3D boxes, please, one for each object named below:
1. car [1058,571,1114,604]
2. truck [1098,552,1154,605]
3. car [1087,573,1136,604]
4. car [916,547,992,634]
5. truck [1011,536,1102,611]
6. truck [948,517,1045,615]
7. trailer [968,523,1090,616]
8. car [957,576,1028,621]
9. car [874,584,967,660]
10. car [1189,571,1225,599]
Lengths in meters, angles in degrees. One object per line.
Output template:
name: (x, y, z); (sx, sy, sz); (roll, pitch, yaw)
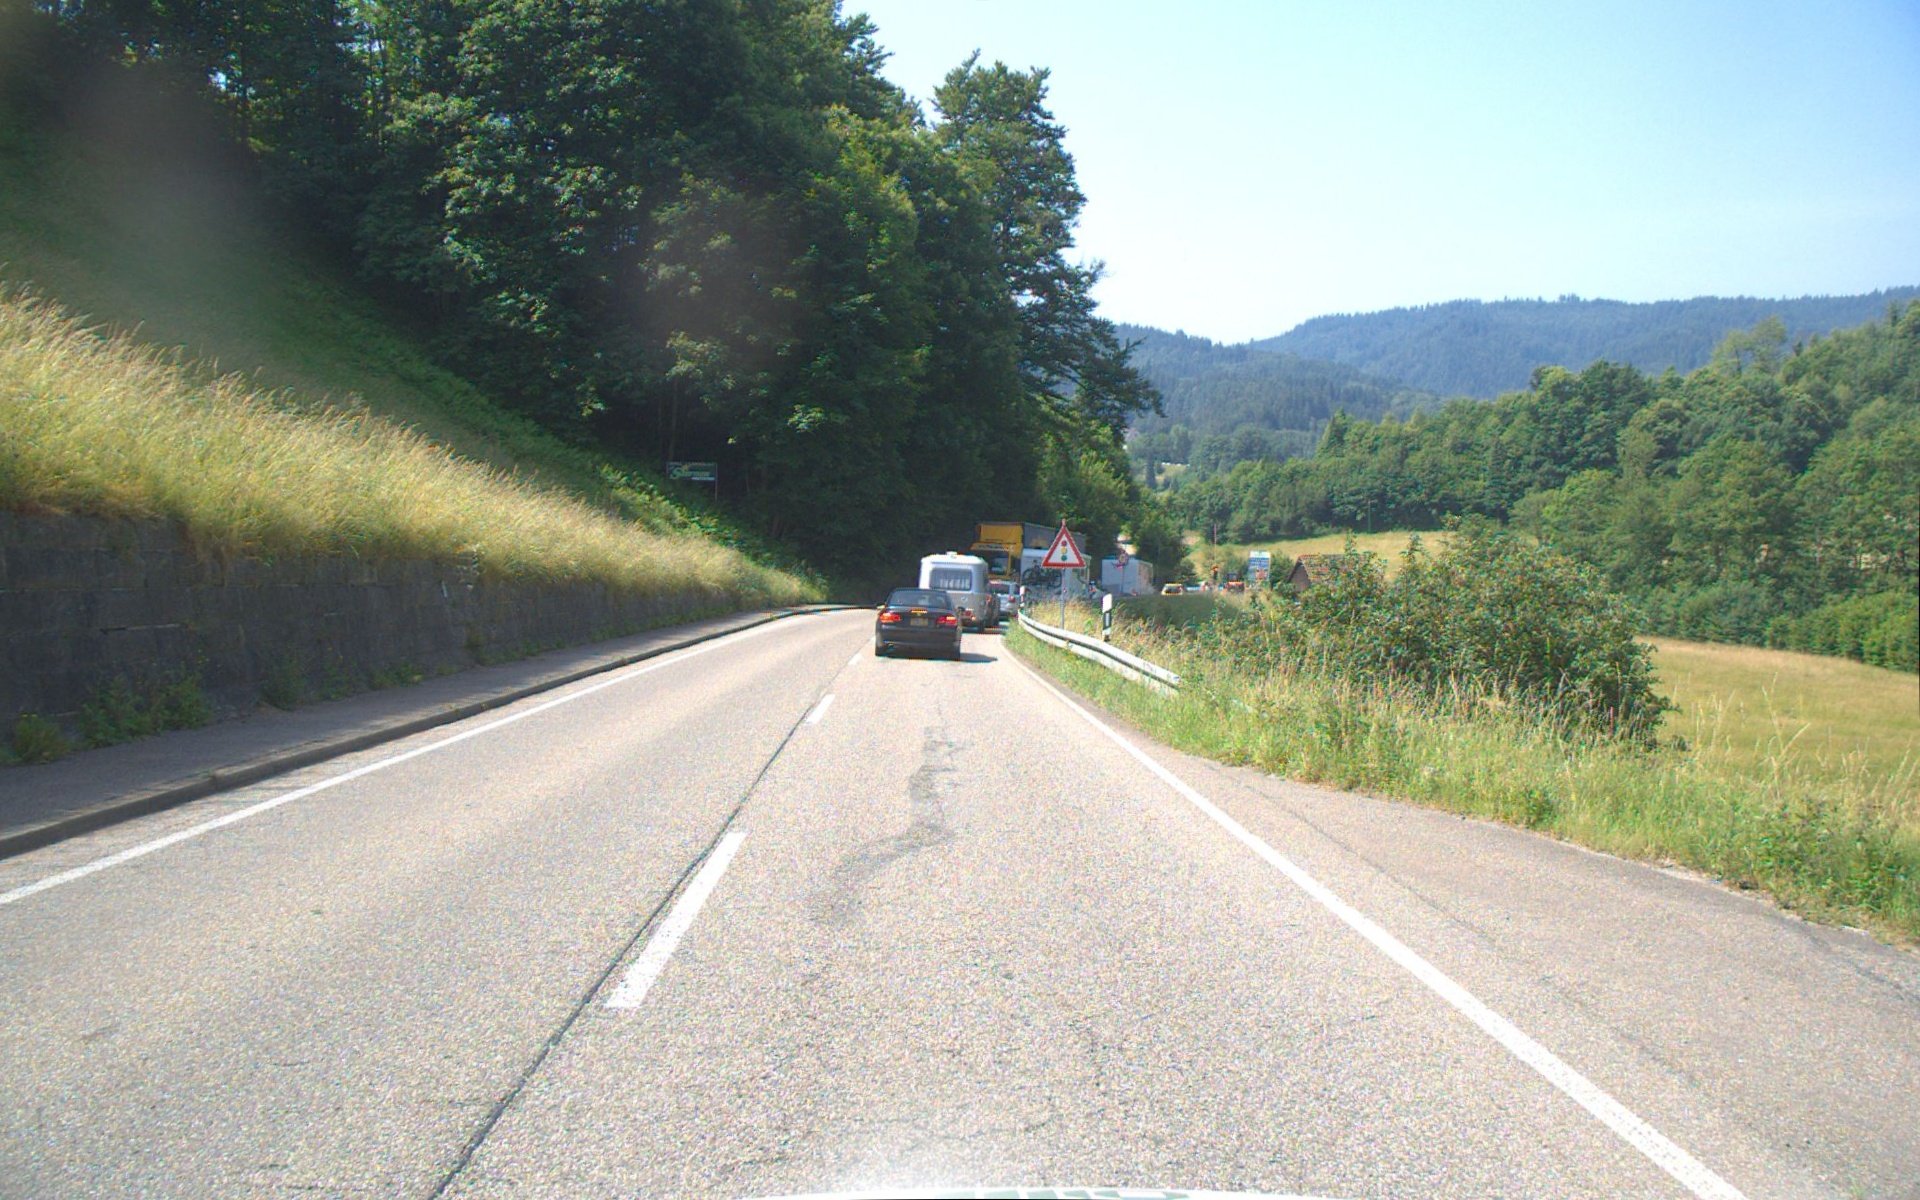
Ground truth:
car: (6.394, -0.646, 83.269); (1.952, 1.489, 4.003); (5, 2, 16)
truck: (9.751, -1.216, 96.863); (2.190, 2.852, 6.236); (3, 0, 15)
car: (8.288, -0.634, 90.144); (1.750, 1.489, 4.002); (5, 2, 17)
car: (-0.134, -0.351, 50.245); (1.952, 2.393, 4.917); (3, 2, 3)
truck: (4.444, -1.181, 75.054); (2.732, 3.049, 6.874); (5, 2, 14)
truck: (1.878, -1.686, 81.543); (3.121, 4.472, 6.577); (4, 2, 14)
trailer: (4.009, -1.613, 89.538); (3.191, 4.493, 15.328); (3, 1, 15)
car: (1.255, -0.072, 62.422); (1.951, 1.509, 4.004); (4, 1, 10)
car: (-0.813, 0.413, 33.736); (1.735, 1.359, 3.766); (3, 1, -2)
car: (19.193, -1.190, 128.231); (1.953, 1.958, 4.002); (5, 2, 19)
